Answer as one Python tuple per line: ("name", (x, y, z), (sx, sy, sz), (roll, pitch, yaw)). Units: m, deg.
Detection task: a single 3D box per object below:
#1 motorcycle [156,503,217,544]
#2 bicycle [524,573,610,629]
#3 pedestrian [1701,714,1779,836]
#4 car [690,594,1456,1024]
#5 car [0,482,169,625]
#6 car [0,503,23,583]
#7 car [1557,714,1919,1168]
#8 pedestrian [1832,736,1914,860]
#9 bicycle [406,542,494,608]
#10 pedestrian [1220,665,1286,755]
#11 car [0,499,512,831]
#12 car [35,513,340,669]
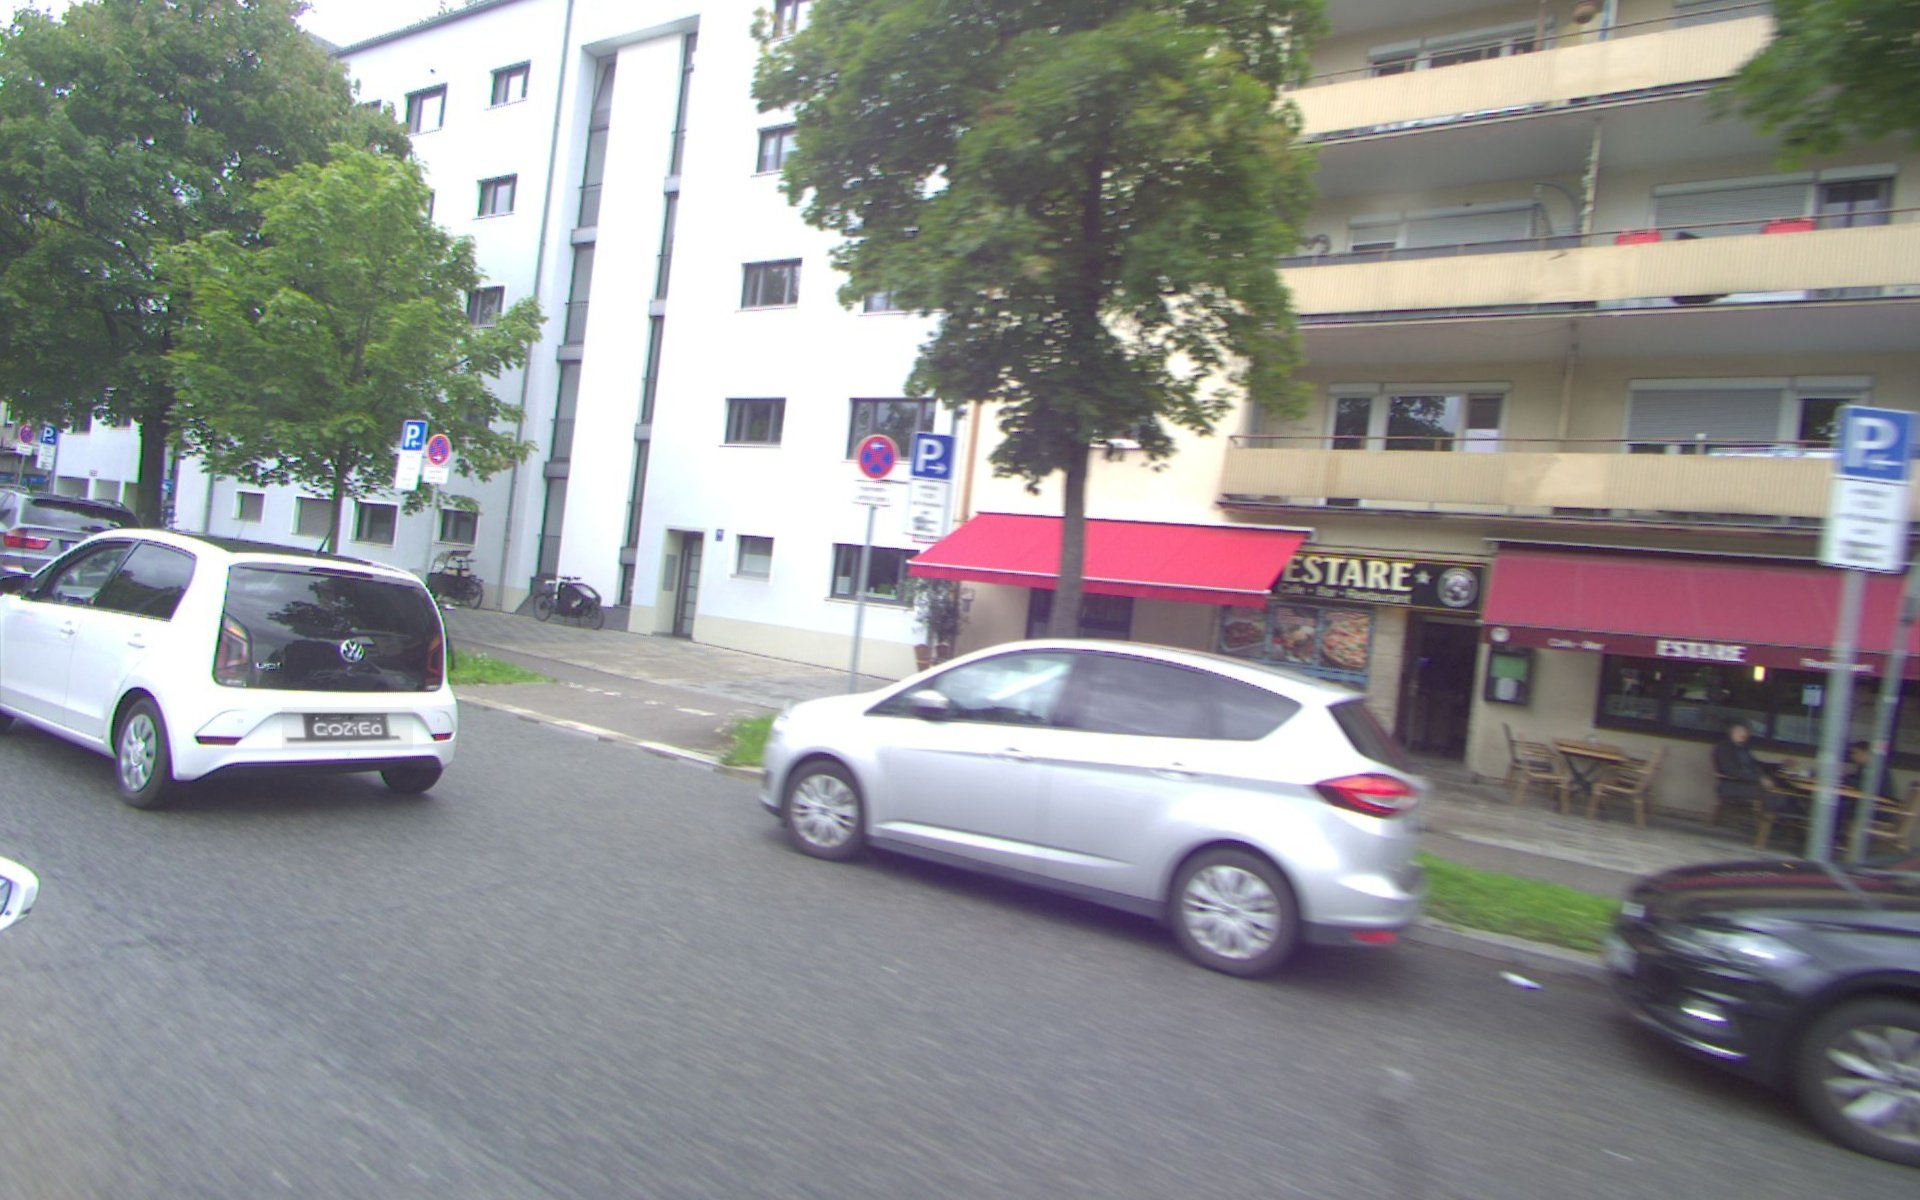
("motorcycle", (-24.776, -2.449, 32.202), (2.163, 1.099, 0.762), (7, 0, 32))
("bicycle", (-9.012, 0.010, 23.033), (2.159, 1.061, 0.621), (7, 3, 32))
("pedestrian", (9.433, 2.095, 12.184), (0.543, 1.355, 0.539), (7, 0, 31))
("car", (0.602, 1.028, 6.513), (4.447, 1.540, 1.833), (7, -1, 31))
("car", (-14.091, -0.806, 15.341), (4.436, 1.767, 1.831), (7, -1, 35))
("car", (-19.662, -1.297, 19.239), (3.934, 1.458, 1.523), (7, -1, 33))
("car", (4.892, 1.535, 4.152), (3.817, 1.490, 1.835), (7, -1, 24))
("pedestrian", (10.386, 2.230, 11.461), (0.479, 1.283, 0.539), (7, 0, 31))
("bicycle", (-12.971, -0.642, 25.565), (2.550, 1.425, 0.703), (7, 2, 32))
("pedestrian", (4.253, 1.572, 14.587), (0.636, 1.178, 0.744), (7, 1, 31))
("car", (-4.812, 0.293, 6.534), (3.377, 1.507, 1.690), (7, -1, 30))
("car", (-10.204, -0.127, 13.256), (3.707, 1.540, 1.833), (7, -1, 31))
